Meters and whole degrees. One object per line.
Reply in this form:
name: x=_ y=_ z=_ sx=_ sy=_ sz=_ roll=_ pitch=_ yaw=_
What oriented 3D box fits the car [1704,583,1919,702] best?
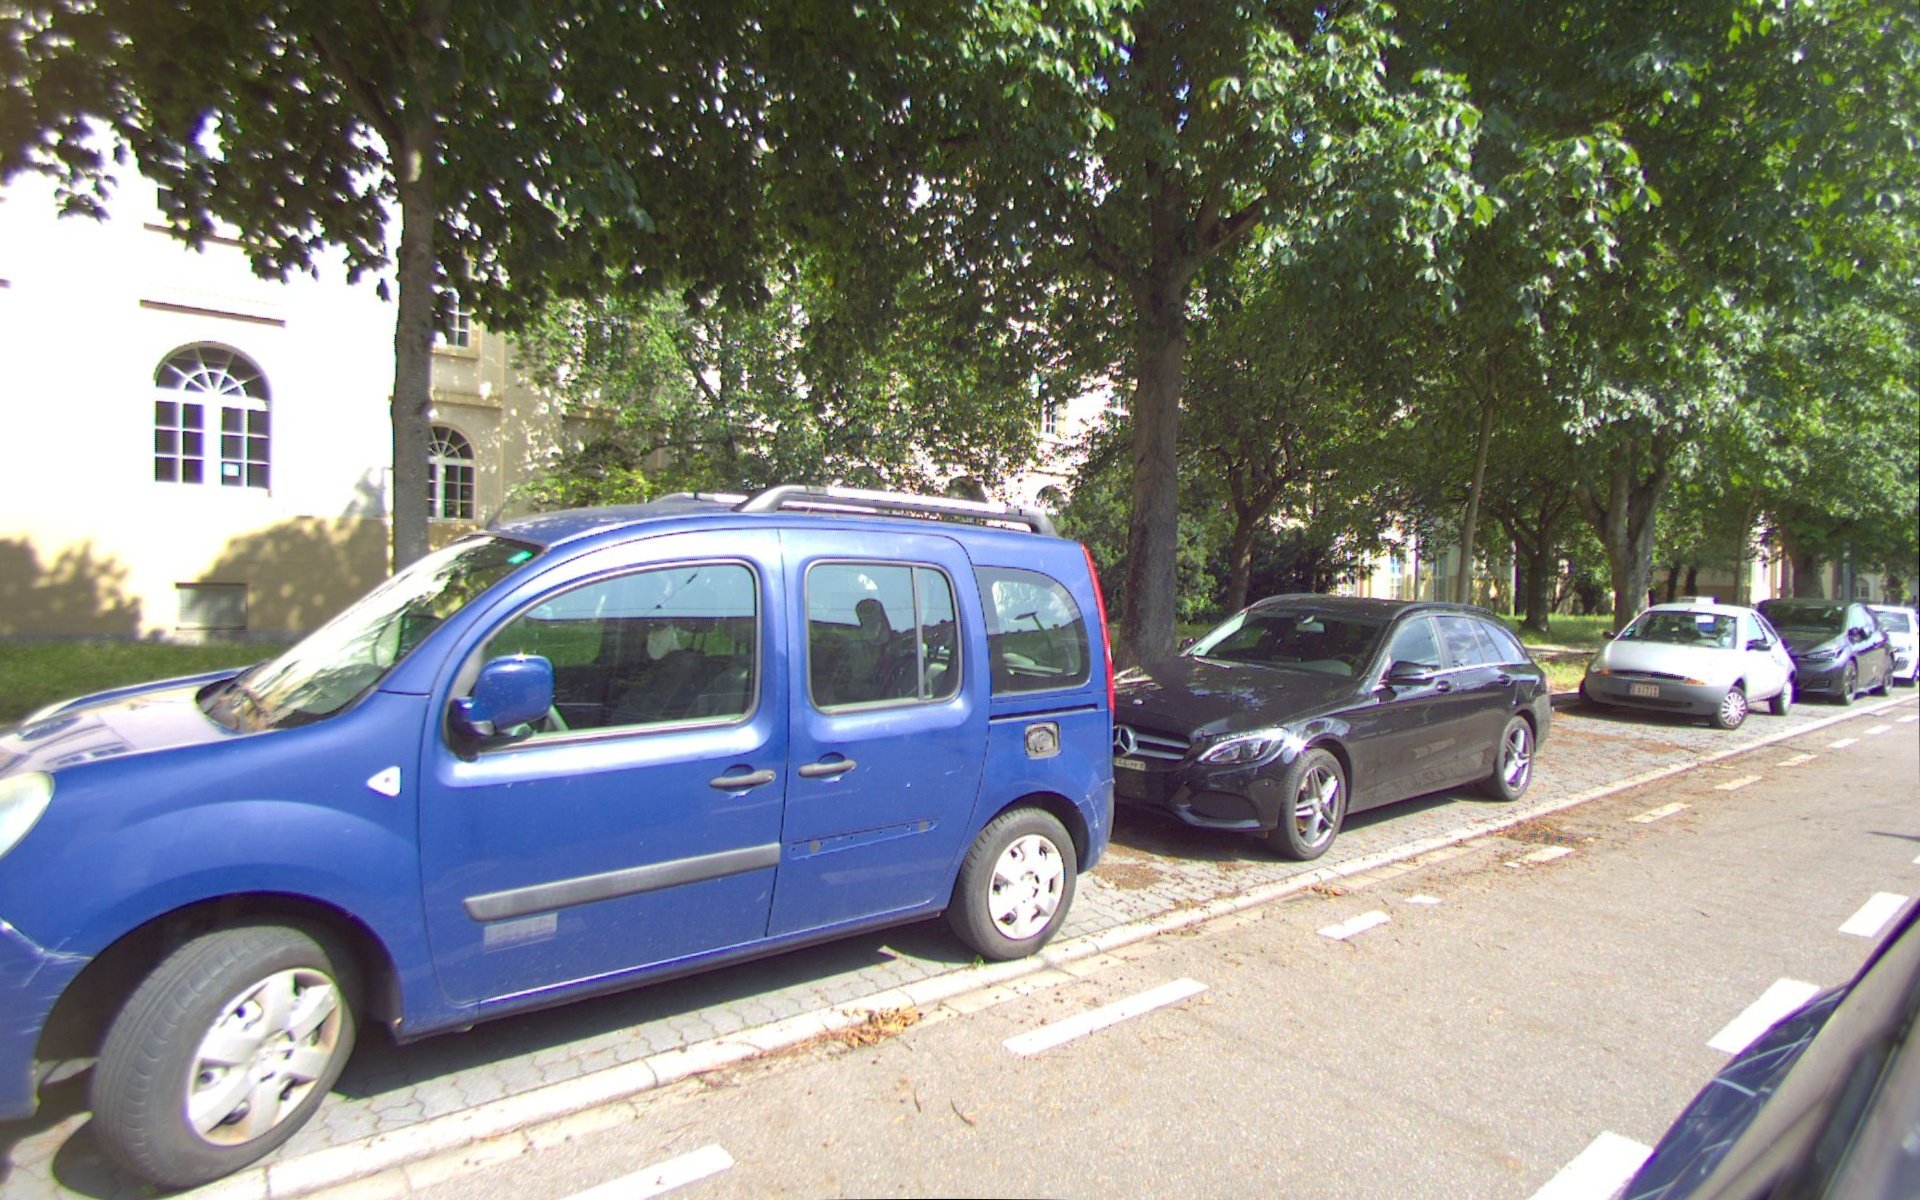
car: x=13.799 y=0.595 z=16.299 sx=4.591 sy=1.603 sz=1.730 roll=0 pitch=2 yaw=-38

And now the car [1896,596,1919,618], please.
car: x=77.635 y=0.607 z=80.126 sx=1.820 sy=1.676 sz=4.843 roll=-1 pitch=2 yaw=-28

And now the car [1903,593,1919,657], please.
car: x=24.768 y=0.643 z=25.123 sx=3.497 sy=1.478 sz=1.559 roll=-1 pitch=5 yaw=-41

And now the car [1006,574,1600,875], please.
car: x=2.748 y=0.639 z=7.458 sx=4.711 sy=1.459 sz=1.922 roll=1 pitch=3 yaw=-40

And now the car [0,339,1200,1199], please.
car: x=-1.161 y=0.395 z=3.919 sx=4.106 sy=1.919 sz=1.828 roll=1 pitch=2 yaw=-37

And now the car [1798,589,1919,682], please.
car: x=18.041 y=0.620 z=19.799 sx=4.179 sy=1.542 sz=1.839 roll=0 pitch=3 yaw=-41

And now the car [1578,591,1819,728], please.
car: x=9.586 y=0.652 z=13.062 sx=3.532 sy=1.462 sz=1.595 roll=0 pitch=3 yaw=-38
